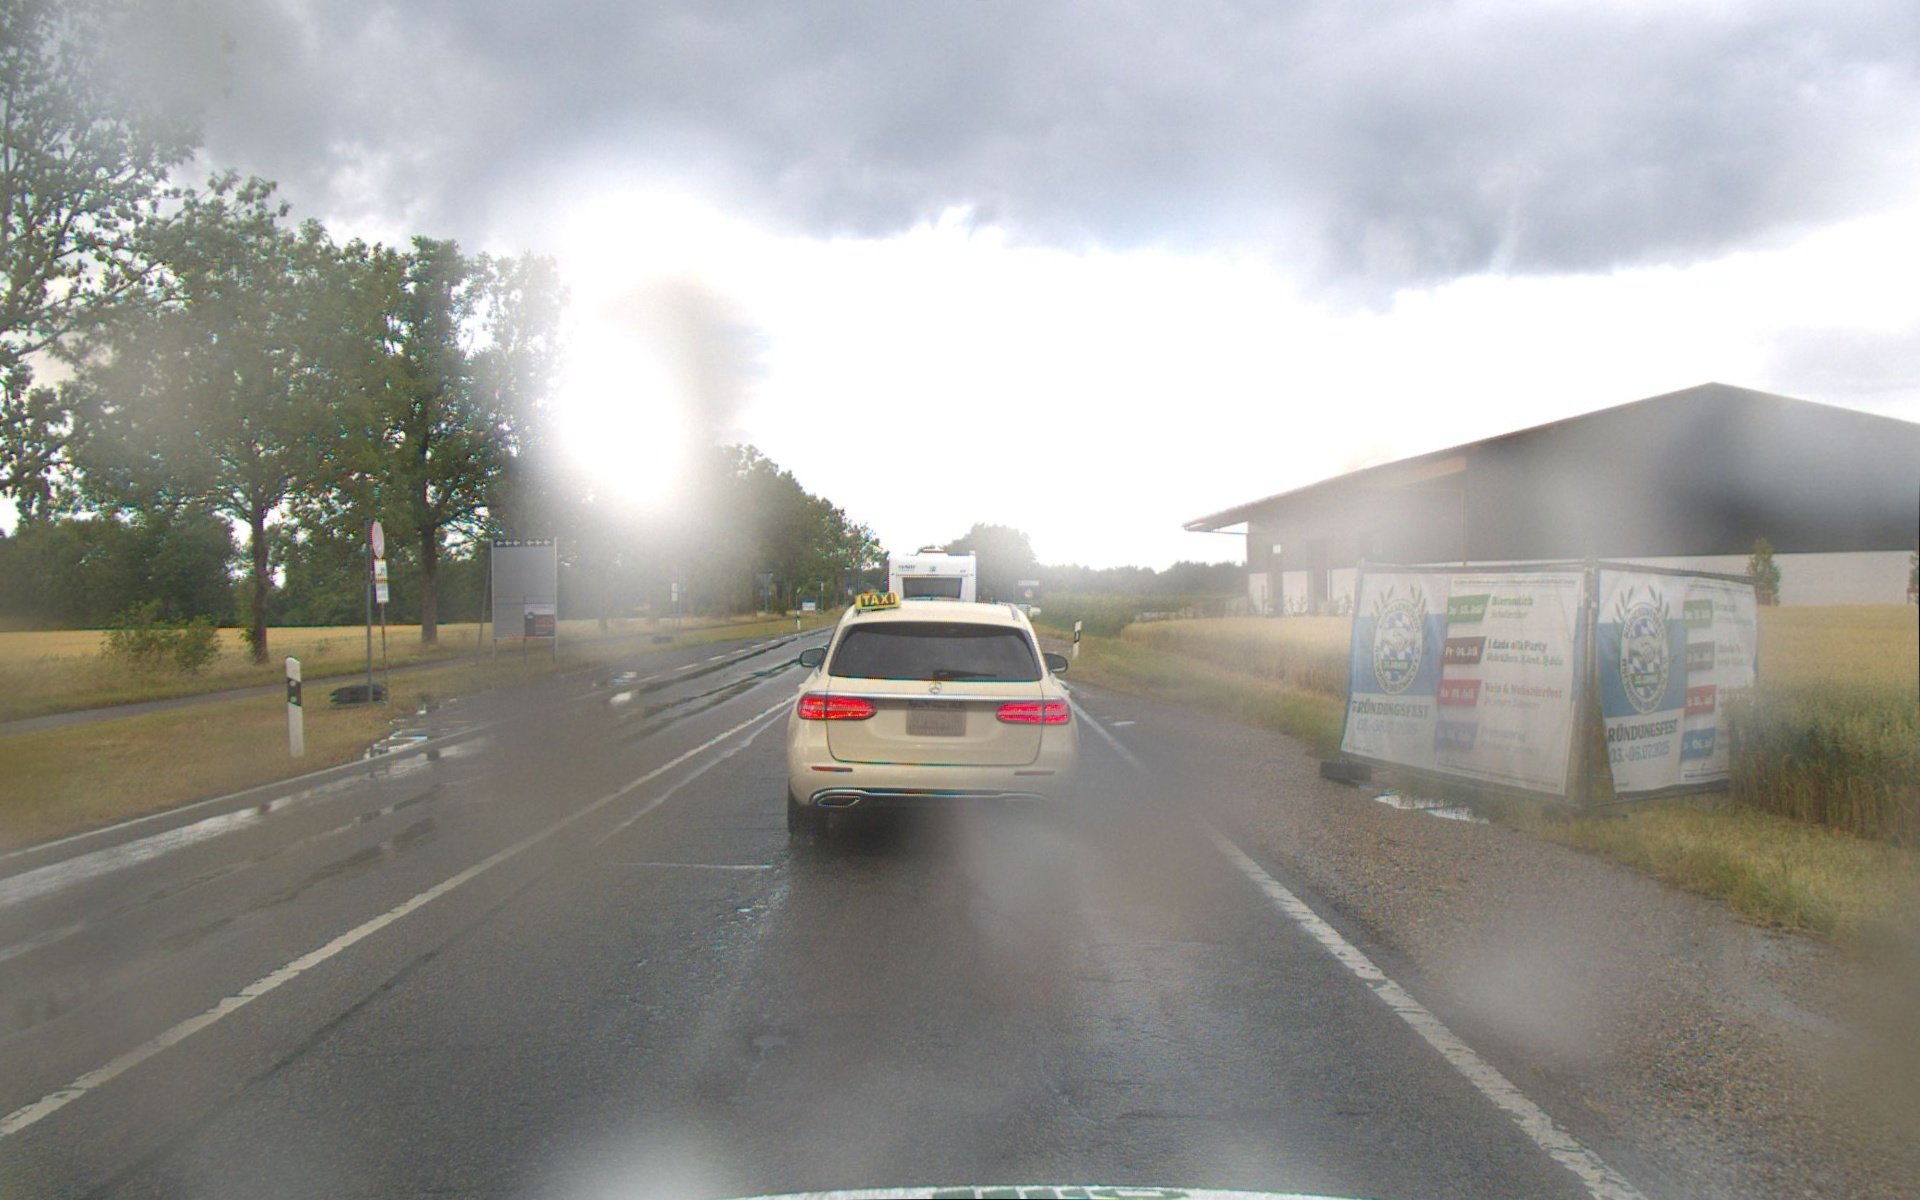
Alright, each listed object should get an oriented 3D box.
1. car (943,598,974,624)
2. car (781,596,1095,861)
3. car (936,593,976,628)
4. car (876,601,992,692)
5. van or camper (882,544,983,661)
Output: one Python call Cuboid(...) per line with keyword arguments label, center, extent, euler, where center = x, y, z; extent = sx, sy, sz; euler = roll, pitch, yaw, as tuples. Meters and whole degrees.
Cuboid(label="car", center=(-0.081, 0.701, 106.006), extent=(1.855, 1.618, 3.928), euler=(0, 0, 1))
Cuboid(label="car", center=(-0.124, 0.718, 11.314), extent=(1.760, 1.490, 4.030), euler=(0, 0, 0))
Cuboid(label="car", center=(-0.234, 0.497, 78.960), extent=(1.856, 1.618, 3.927), euler=(0, 0, -1))
Cuboid(label="car", center=(-0.443, 0.746, 28.465), extent=(1.856, 1.454, 3.927), euler=(0, 0, -1))
Cuboid(label="van or camper", center=(-0.665, 0.065, 44.596), extent=(2.446, 2.880, 5.934), euler=(-2, 0, 0))
